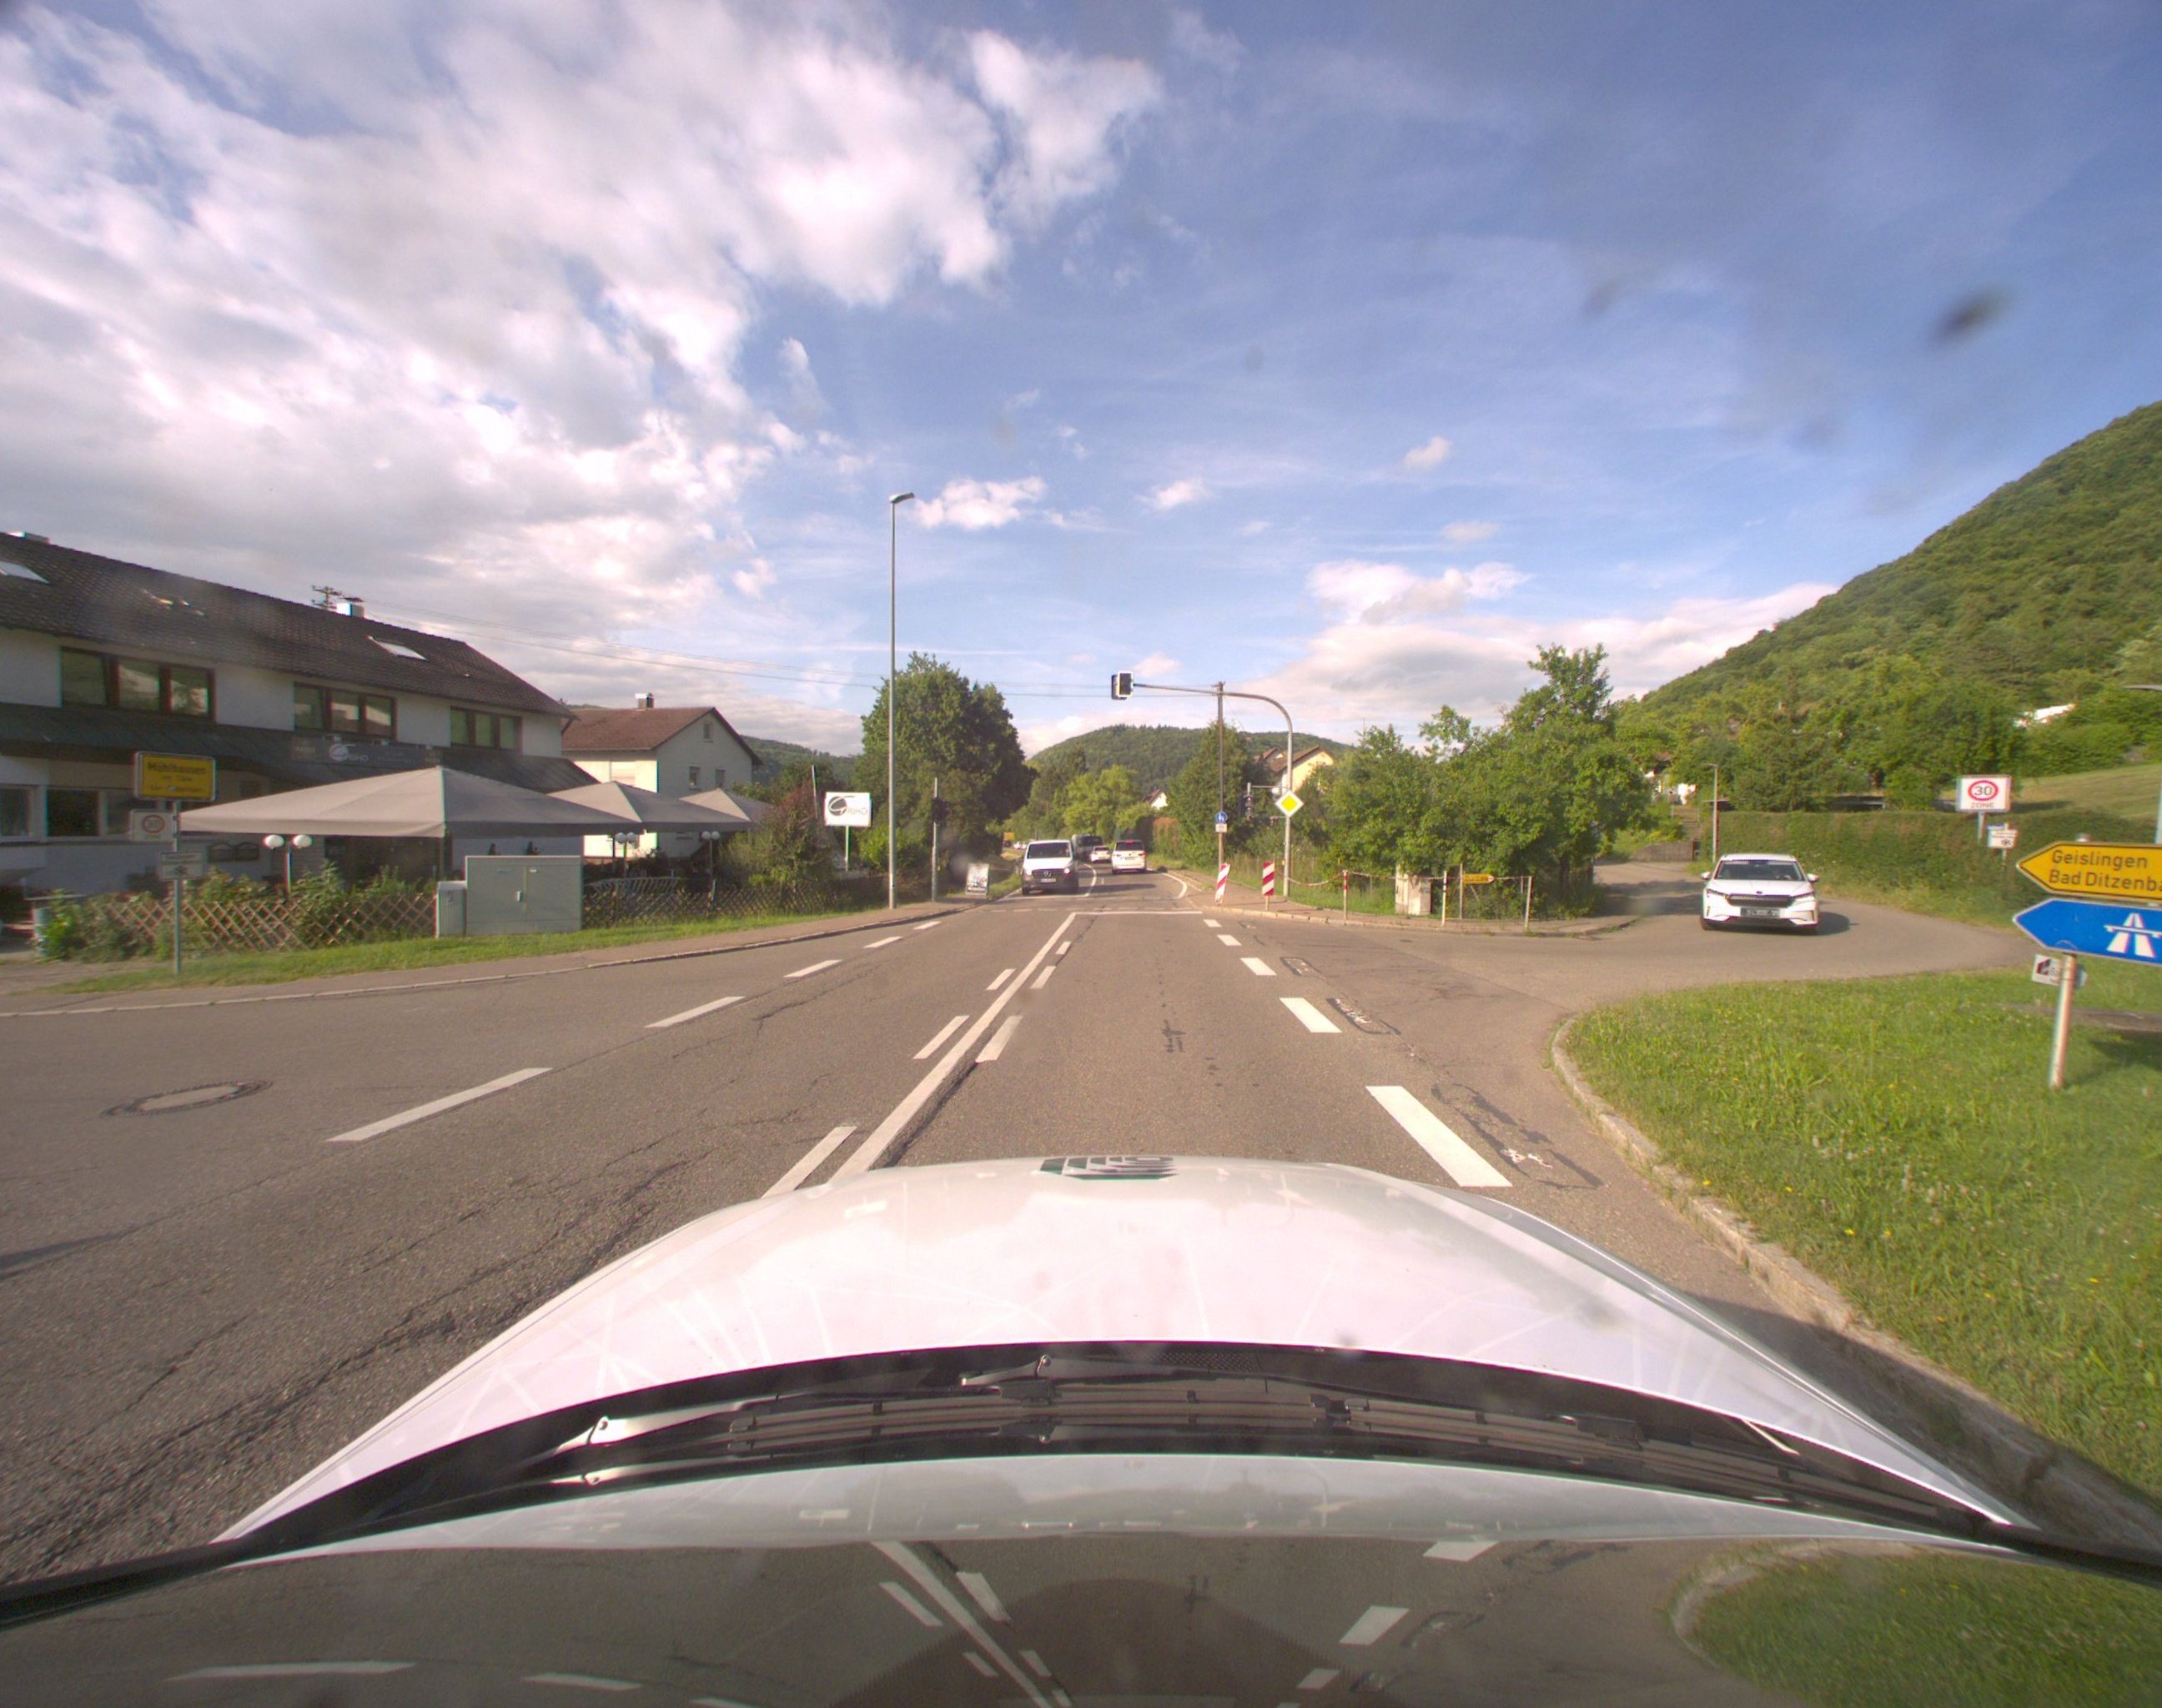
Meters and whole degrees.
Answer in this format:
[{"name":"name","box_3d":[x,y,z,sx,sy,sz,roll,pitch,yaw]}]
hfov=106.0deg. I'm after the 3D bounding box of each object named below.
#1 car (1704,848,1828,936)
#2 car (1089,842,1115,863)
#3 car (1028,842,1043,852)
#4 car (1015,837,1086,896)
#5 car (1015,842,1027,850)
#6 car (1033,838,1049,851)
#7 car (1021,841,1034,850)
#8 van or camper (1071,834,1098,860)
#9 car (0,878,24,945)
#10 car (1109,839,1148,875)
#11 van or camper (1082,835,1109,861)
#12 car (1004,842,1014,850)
[{"name":"car","box_3d":[14.920,0.708,17.947,1.849,1.610,4.601,1,2,37]},{"name":"car","box_3d":[1.759,-0.146,68.769,1.987,1.684,3.999,-1,1,-1]},{"name":"car","box_3d":[-7.914,-1.210,141.205,2.043,1.683,3.983,0,1,-13]},{"name":"car","box_3d":[-0.989,0.367,29.548,1.985,1.903,5.259,-2,1,4]},{"name":"car","box_3d":[-11.724,-1.519,159.005,1.942,1.424,3.987,-1,1,-10]},{"name":"car","box_3d":[-6.539,-1.536,132.516,1.994,2.013,3.987,-1,1,-10]},{"name":"car","box_3d":[-9.875,-1.529,149.871,1.942,1.684,3.987,-2,0,-10]},{"name":"van or camper","box_3d":[0.348,-0.804,92.394,2.411,2.904,6.121,-1,1,-5]},{"name":"car","box_3d":[-23.641,1.247,15.039,1.982,1.389,4.587,-2,0,8]},{"name":"car","box_3d":[2.706,0.119,47.040,1.987,1.876,4.872,1,1,1]},{"name":"van or camper","box_3d":[1.323,-0.577,77.504,2.174,2.385,5.365,-1,1,-3]},{"name":"car","box_3d":[-15.895,-1.740,178.914,1.772,1.782,3.986,-2,0,-10]}]
